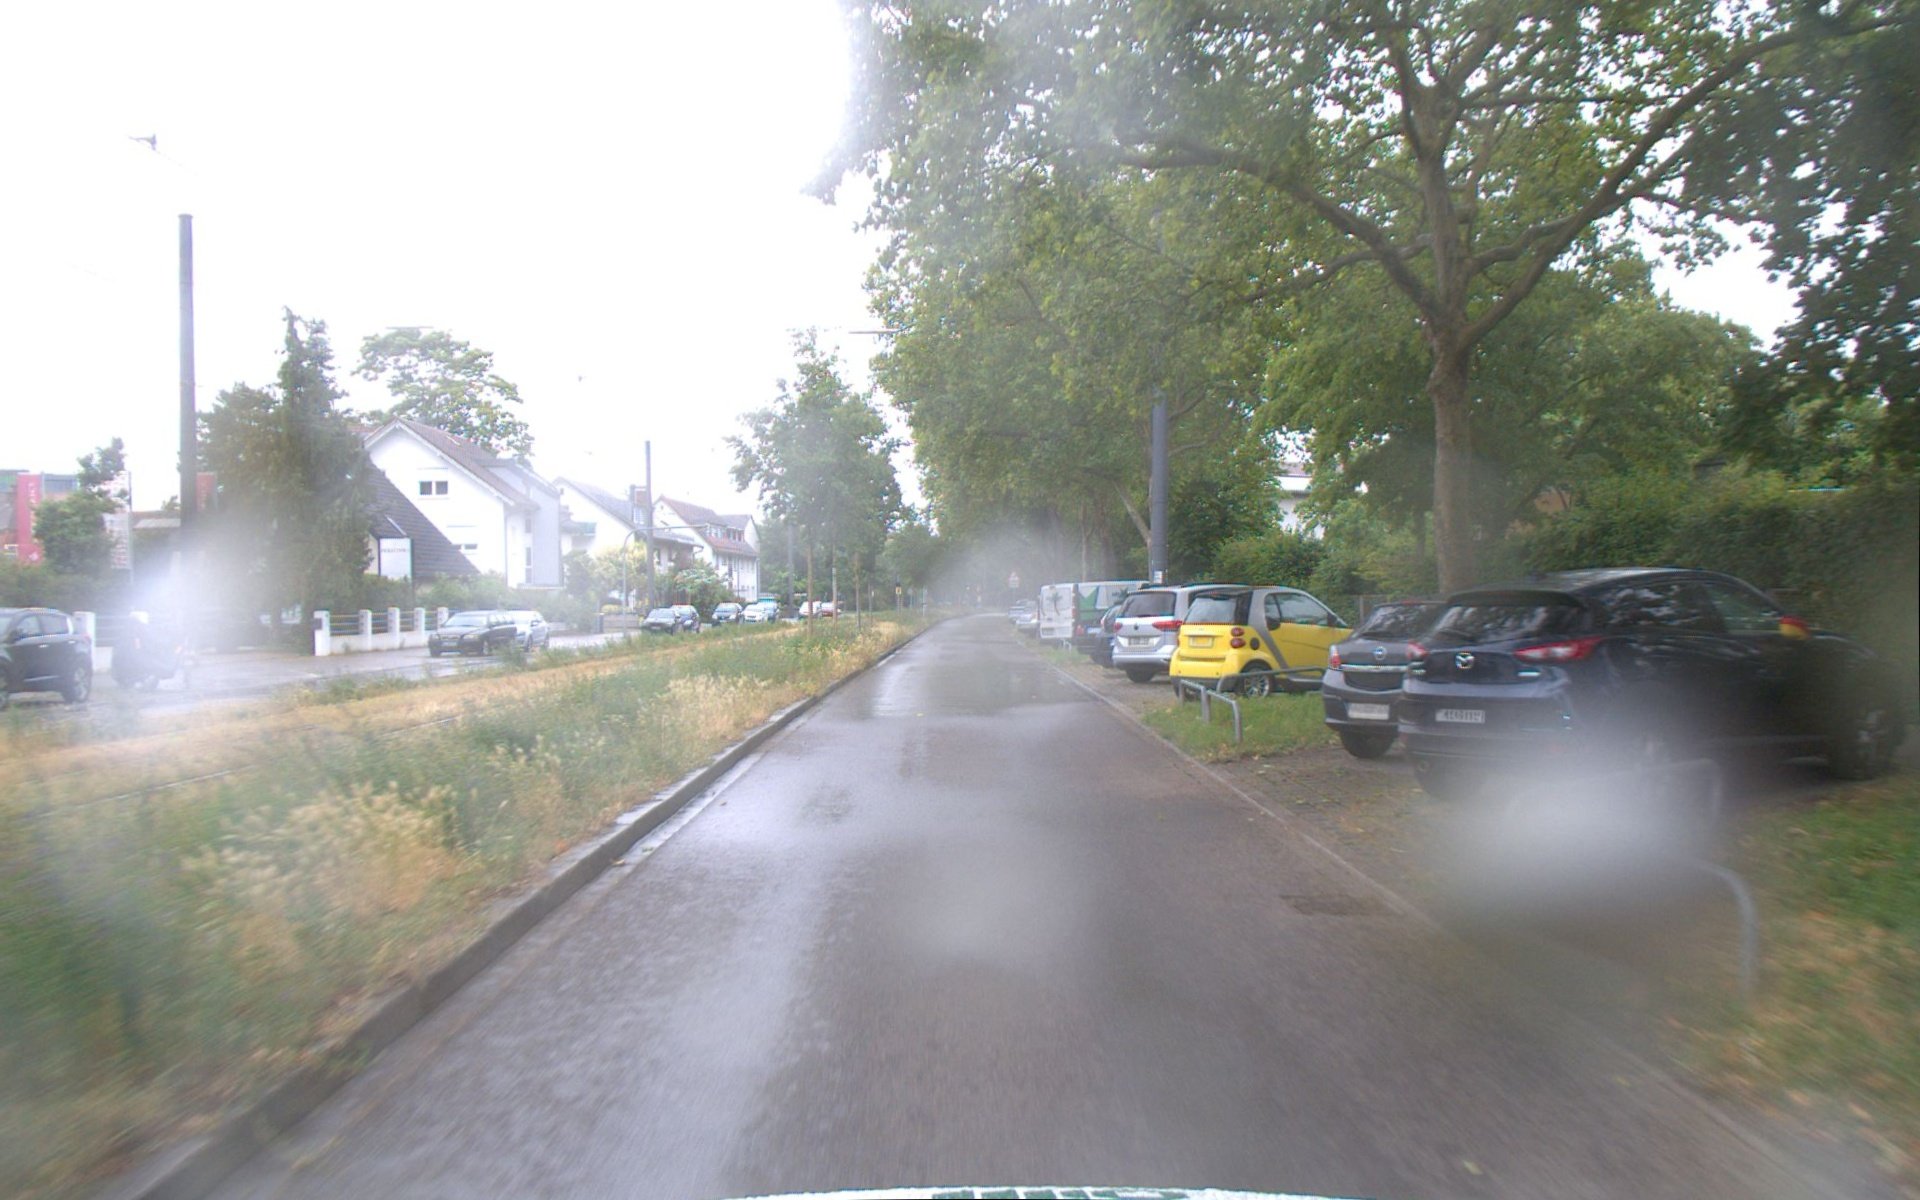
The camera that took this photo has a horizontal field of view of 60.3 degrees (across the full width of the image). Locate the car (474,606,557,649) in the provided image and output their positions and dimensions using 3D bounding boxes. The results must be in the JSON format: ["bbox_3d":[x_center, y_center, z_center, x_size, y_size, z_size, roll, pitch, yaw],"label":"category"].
[{"bbox_3d":[-16.105,0.971,60.123,1.953,1.435,3.971,1,0,0],"label":"car"}]

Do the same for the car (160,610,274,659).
[{"bbox_3d":[-24.227,1.091,54.093,1.953,1.481,3.918,1,0,0],"label":"car"}]

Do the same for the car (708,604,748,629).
[{"bbox_3d":[-15.570,1.099,111.031,1.952,1.543,4.206,1,0,2],"label":"car"}]

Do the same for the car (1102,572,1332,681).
[{"bbox_3d":[4.525,0.435,28.803,4.007,1.669,1.632,-3,-1,-39],"label":"car"}]

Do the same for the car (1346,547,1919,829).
[{"bbox_3d":[4.727,0.497,11.499,3.755,1.559,1.863,-3,1,-32],"label":"car"}]

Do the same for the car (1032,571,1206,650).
[{"bbox_3d":[4.682,0.276,48.320,4.973,2.048,1.975,-3,1,-35],"label":"car"}]

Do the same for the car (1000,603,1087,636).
[{"bbox_3d":[4.698,1.072,92.674,4.723,1.697,1.969,-2,0,-36],"label":"car"}]

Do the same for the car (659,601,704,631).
[{"bbox_3d":[-15.758,0.888,93.751,1.835,1.577,3.870,1,0,0],"label":"car"}]

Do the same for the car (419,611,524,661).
[{"bbox_3d":[-15.982,1.152,54.342,1.952,1.481,4.532,1,0,2],"label":"car"}]

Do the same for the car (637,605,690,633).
[{"bbox_3d":[-15.879,0.992,88.687,1.952,1.374,4.241,1,0,2],"label":"car"}]

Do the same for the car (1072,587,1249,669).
[{"bbox_3d":[4.260,0.584,34.960,3.370,1.544,1.825,-3,0,-38],"label":"car"}]

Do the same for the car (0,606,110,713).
[{"bbox_3d":[-16.308,0.958,27.732,1.953,1.704,4.386,0,0,-2],"label":"car"}]

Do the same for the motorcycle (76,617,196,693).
[{"bbox_3d":[-16.382,1.068,32.851,2.640,1.436,1.259,-1,-1,42],"label":"motorcycle"}]

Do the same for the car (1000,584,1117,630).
[{"bbox_3d":[4.050,0.290,67.692,4.503,1.571,1.867,-4,2,-32],"label":"car"}]

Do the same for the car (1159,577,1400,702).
[{"bbox_3d":[4.377,0.521,22.658,2.864,1.492,1.588,-3,0,-29],"label":"car"}]

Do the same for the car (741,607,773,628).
[{"bbox_3d":[-15.035,1.296,122.681,1.759,1.514,3.598,1,0,2],"label":"car"}]

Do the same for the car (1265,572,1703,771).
[{"bbox_3d":[4.785,0.568,14.894,4.020,1.443,1.719,-3,0,-37],"label":"car"}]

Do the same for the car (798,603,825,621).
[{"bbox_3d":[-13.784,1.096,153.382,1.952,1.608,4.518,1,0,2],"label":"car"}]

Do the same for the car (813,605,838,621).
[{"bbox_3d":[-13.586,1.297,167.188,1.952,1.514,4.206,1,0,2],"label":"car"}]

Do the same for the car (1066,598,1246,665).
[{"bbox_3d":[4.587,0.698,38.381,4.265,1.408,1.716,-1,0,-40],"label":"car"}]
